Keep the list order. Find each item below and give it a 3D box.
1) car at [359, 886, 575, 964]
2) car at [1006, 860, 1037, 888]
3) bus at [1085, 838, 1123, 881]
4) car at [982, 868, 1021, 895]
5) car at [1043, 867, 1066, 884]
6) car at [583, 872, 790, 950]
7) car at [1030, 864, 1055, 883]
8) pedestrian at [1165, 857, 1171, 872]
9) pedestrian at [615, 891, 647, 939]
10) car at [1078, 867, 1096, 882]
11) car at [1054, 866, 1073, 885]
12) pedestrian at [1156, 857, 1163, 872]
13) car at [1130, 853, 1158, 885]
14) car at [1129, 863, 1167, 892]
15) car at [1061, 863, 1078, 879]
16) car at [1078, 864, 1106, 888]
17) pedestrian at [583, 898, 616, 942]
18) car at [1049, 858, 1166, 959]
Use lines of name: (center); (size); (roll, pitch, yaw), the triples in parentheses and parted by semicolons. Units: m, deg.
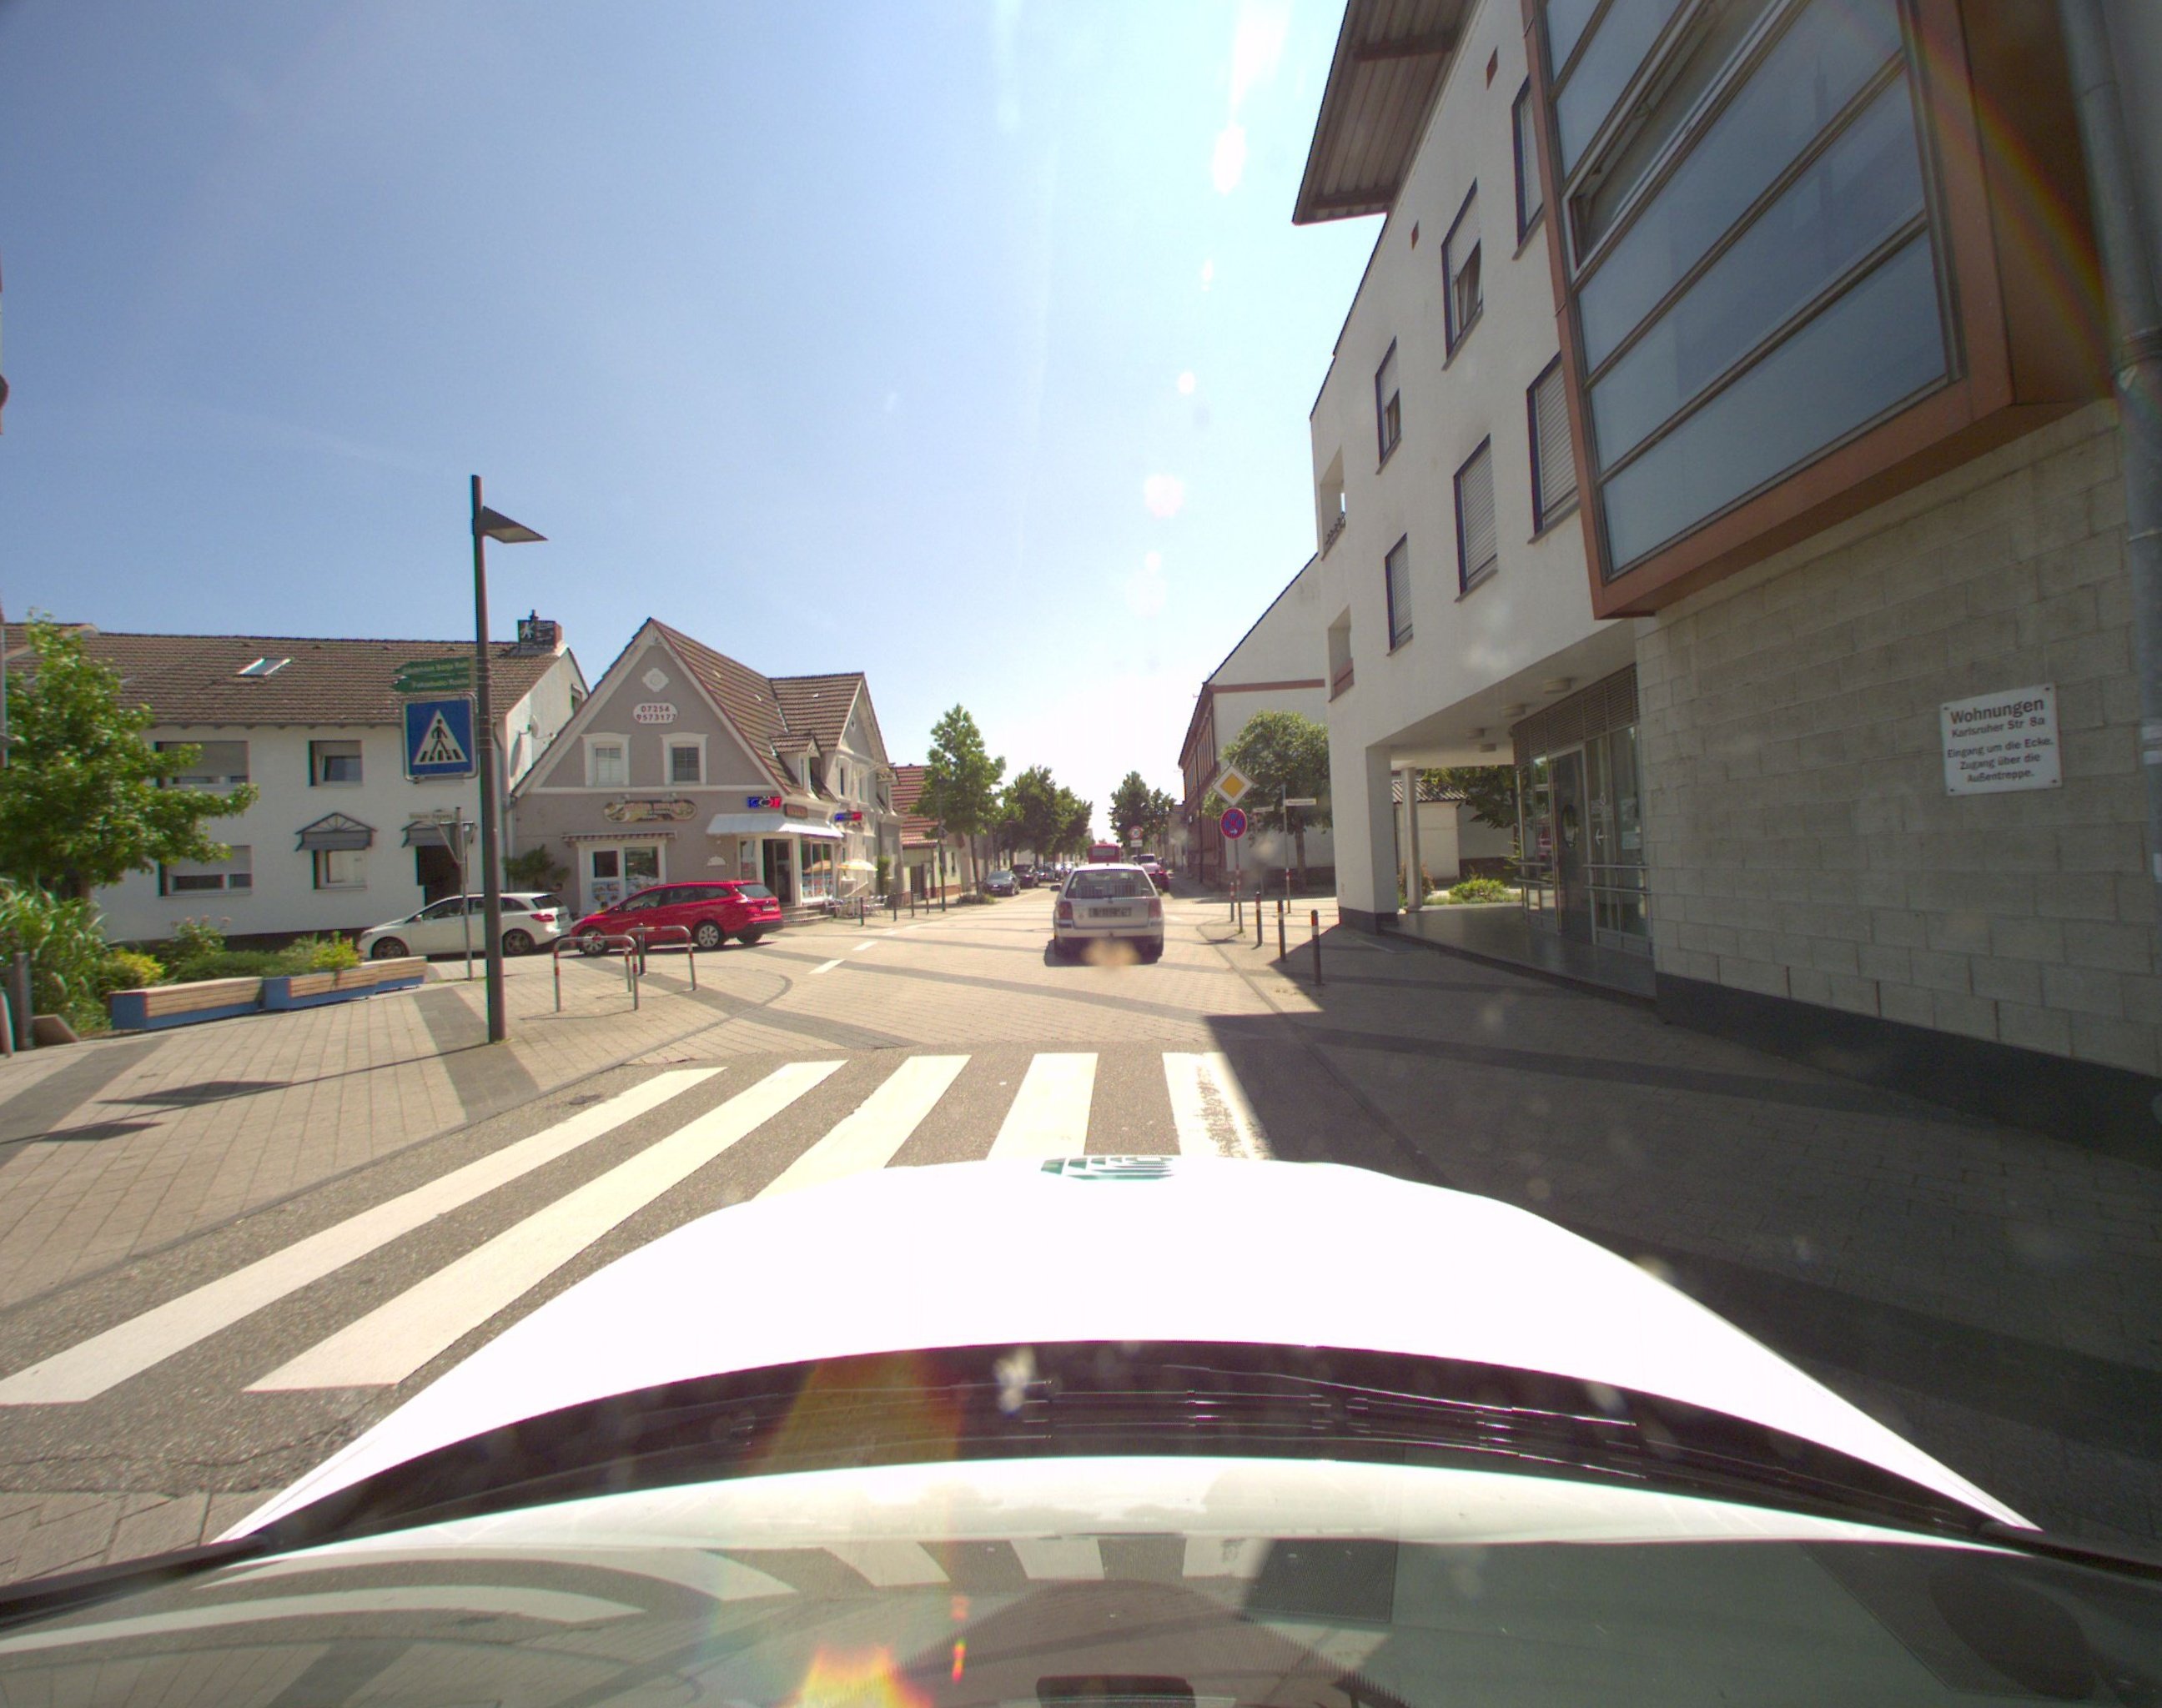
car: (-15.105, 1.699, 20.246); (3.922, 1.545, 1.511); (-3, 1, -14)
car: (-4.236, 1.425, 58.491); (1.757, 1.838, 3.791); (-3, -1, 3)
bus: (2.180, 0.534, 71.208); (2.728, 3.299, 12.716); (-2, -1, 4)
car: (-4.504, 1.546, 46.744); (1.599, 1.438, 4.067); (-3, -1, 3)
car: (-2.561, 2.087, 79.768); (1.804, 1.559, 4.002); (-3, -1, 3)
car: (-8.530, 1.214, 17.789); (3.649, 1.430, 1.685); (-3, -1, 5)
car: (-3.429, 1.726, 73.064); (1.804, 1.559, 4.002); (-3, -1, 3)
pedestrian: (9.996, 1.202, 93.325); (0.604, 1.667, 0.789); (-3, -1, 1)
pedestrian: (-12.489, 1.672, 22.590); (0.639, 1.289, 0.780); (1, -2, -41)
car: (0.734, 2.364, 94.649); (1.804, 1.559, 4.002); (-3, -1, 3)
car: (-1.910, 2.429, 91.441); (1.804, 1.996, 4.002); (-3, -1, 3)
pedestrian: (9.055, 1.217, 93.723); (0.604, 1.667, 0.789); (-3, -1, 1)
car: (4.355, 1.020, 56.928); (1.781, 2.082, 3.628); (-3, -1, 2)
car: (3.395, 1.183, 41.735); (1.712, 1.309, 3.628); (-3, -1, 2)
car: (-1.407, 2.069, 99.286); (1.713, 1.802, 4.002); (-3, -1, 3)
car: (0.732, 1.373, 51.936); (1.586, 1.430, 3.683); (-1, -1, 4)
pedestrian: (-12.905, 1.766, 21.825); (0.639, 1.116, 0.780); (1, -2, -41)
car: (0.473, 0.825, 13.721); (1.670, 1.430, 3.682); (-2, -1, 3)
